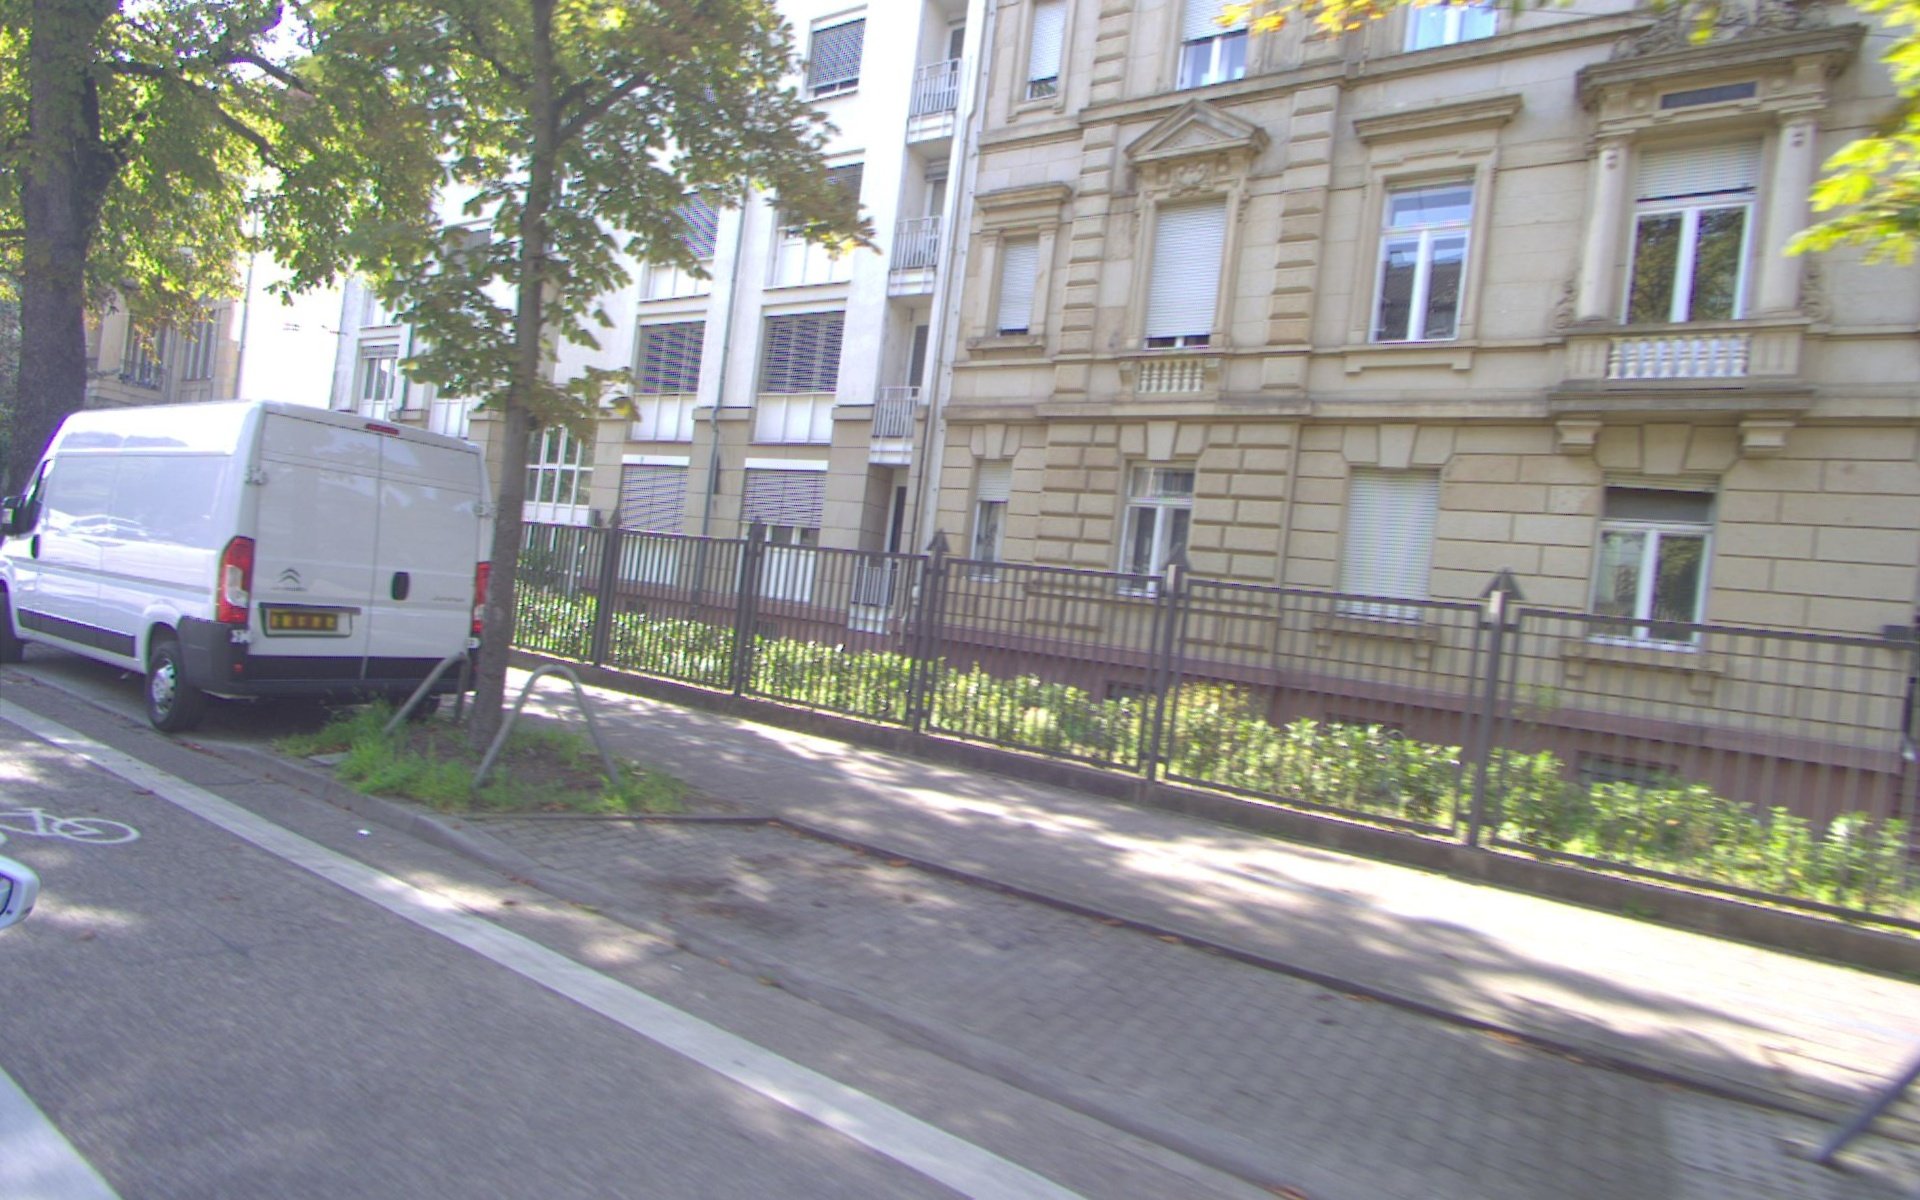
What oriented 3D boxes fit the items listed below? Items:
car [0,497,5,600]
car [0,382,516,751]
[{"bbox_3d":[-16.690,-0.990,15.705,4.286,1.544,1.606,6,2,33],"label":"car"},{"bbox_3d":[-7.012,-0.444,9.396,6.127,2.530,2.047,7,0,33],"label":"car"}]
